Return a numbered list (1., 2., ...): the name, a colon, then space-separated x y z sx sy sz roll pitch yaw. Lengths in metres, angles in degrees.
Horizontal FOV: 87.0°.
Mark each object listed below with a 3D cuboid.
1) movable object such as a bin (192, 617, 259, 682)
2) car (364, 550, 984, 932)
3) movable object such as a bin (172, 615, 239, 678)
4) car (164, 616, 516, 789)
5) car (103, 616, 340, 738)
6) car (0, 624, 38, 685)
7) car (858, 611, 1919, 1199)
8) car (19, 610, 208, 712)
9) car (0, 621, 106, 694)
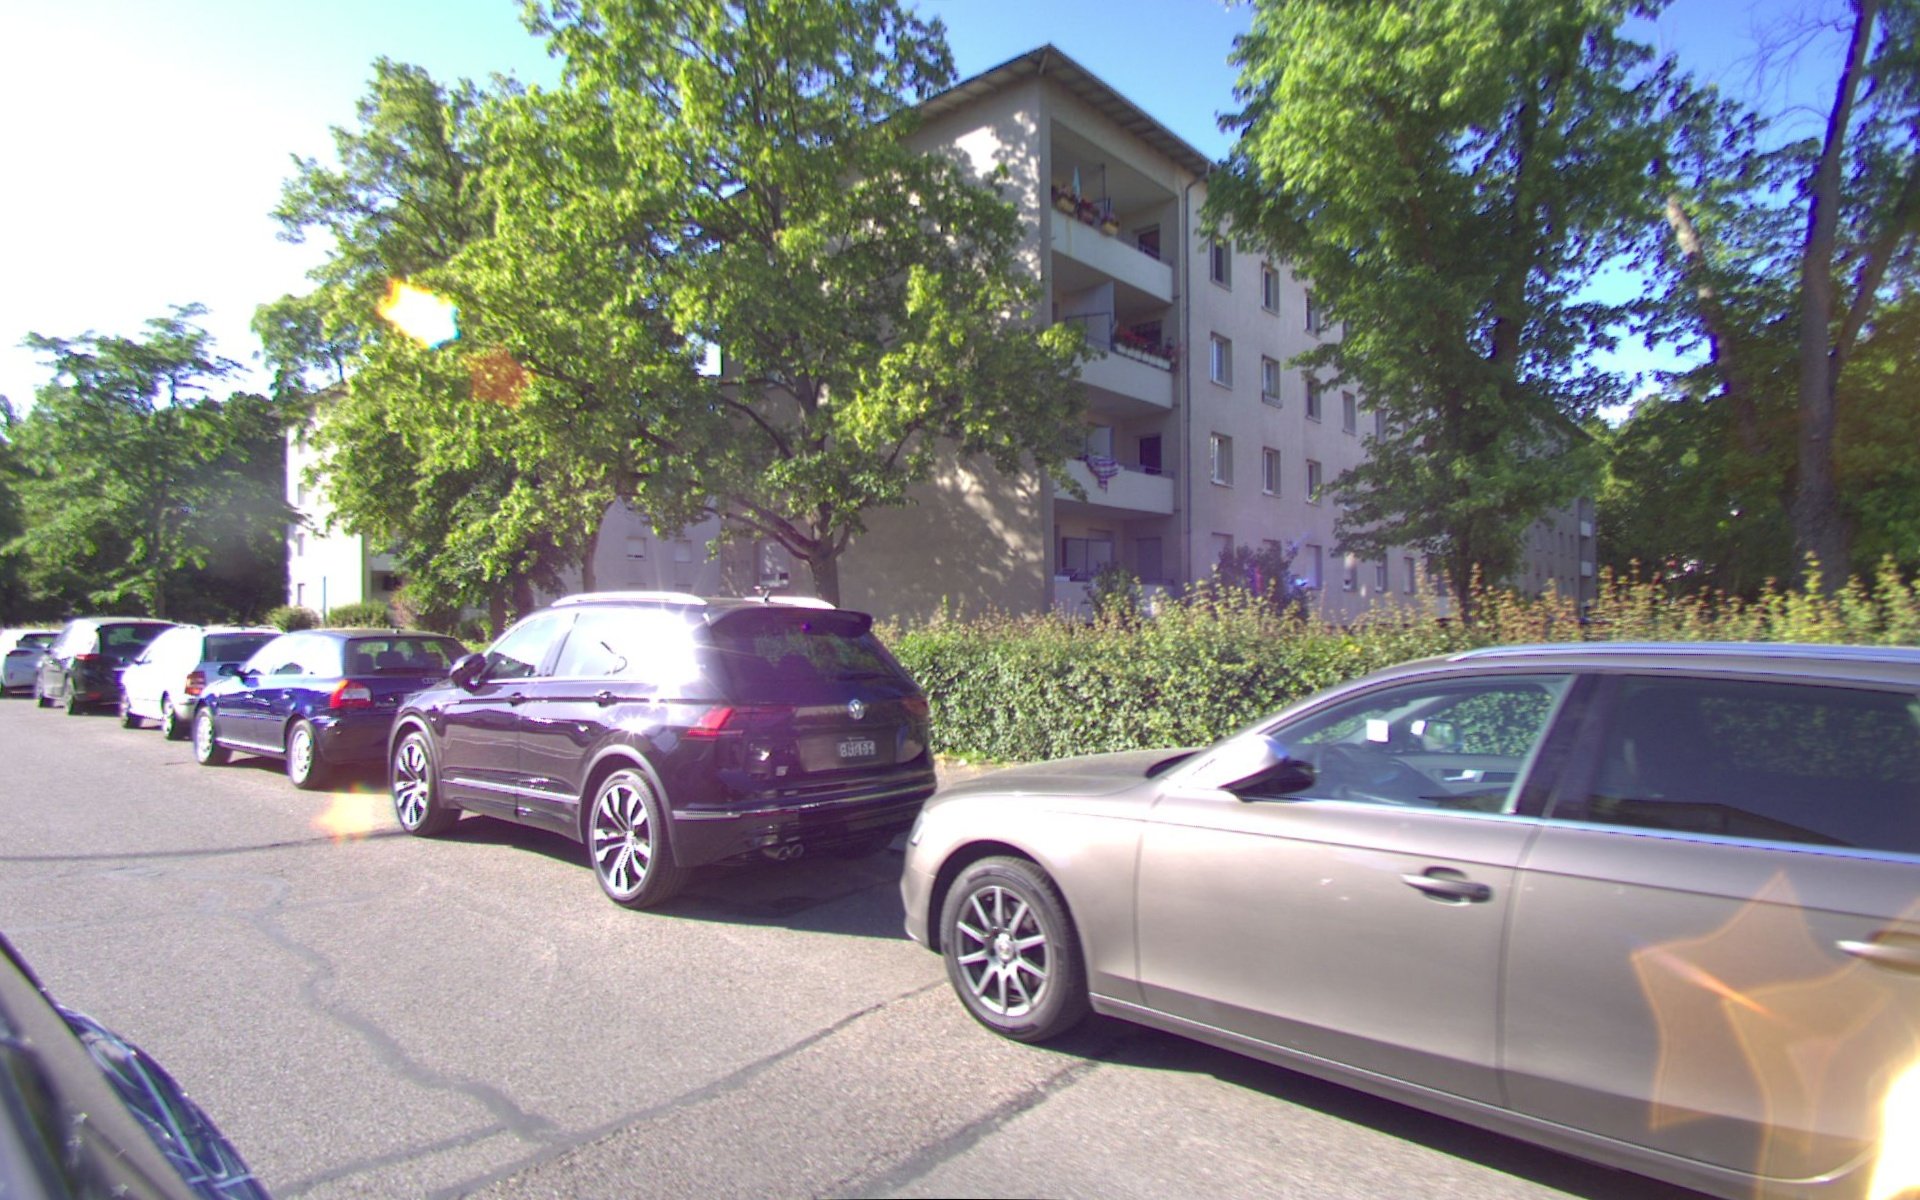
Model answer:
1. movable object such as a bin: -17.346 1.154 23.895 1.263 1.425 0.886 -2 2 37
2. car: -2.083 0.685 6.569 4.387 1.681 1.736 -2 -3 41
3. movable object such as a bin: -18.417 1.121 24.701 1.188 1.425 0.967 -2 2 37
4. car: -6.290 0.888 10.097 4.164 1.396 1.622 -1 -2 38
5. car: -10.373 0.986 14.115 4.148 1.448 1.736 -2 -3 40
6. car: -24.940 1.358 25.638 3.872 1.490 1.616 -1 -2 37
7. car: 1.949 0.745 2.986 4.671 1.396 1.736 -1 -2 41
8. car: -15.280 1.033 18.193 4.428 1.618 1.788 -2 -2 39
9. car: -20.579 1.229 22.437 3.936 1.490 1.789 -2 -2 39
